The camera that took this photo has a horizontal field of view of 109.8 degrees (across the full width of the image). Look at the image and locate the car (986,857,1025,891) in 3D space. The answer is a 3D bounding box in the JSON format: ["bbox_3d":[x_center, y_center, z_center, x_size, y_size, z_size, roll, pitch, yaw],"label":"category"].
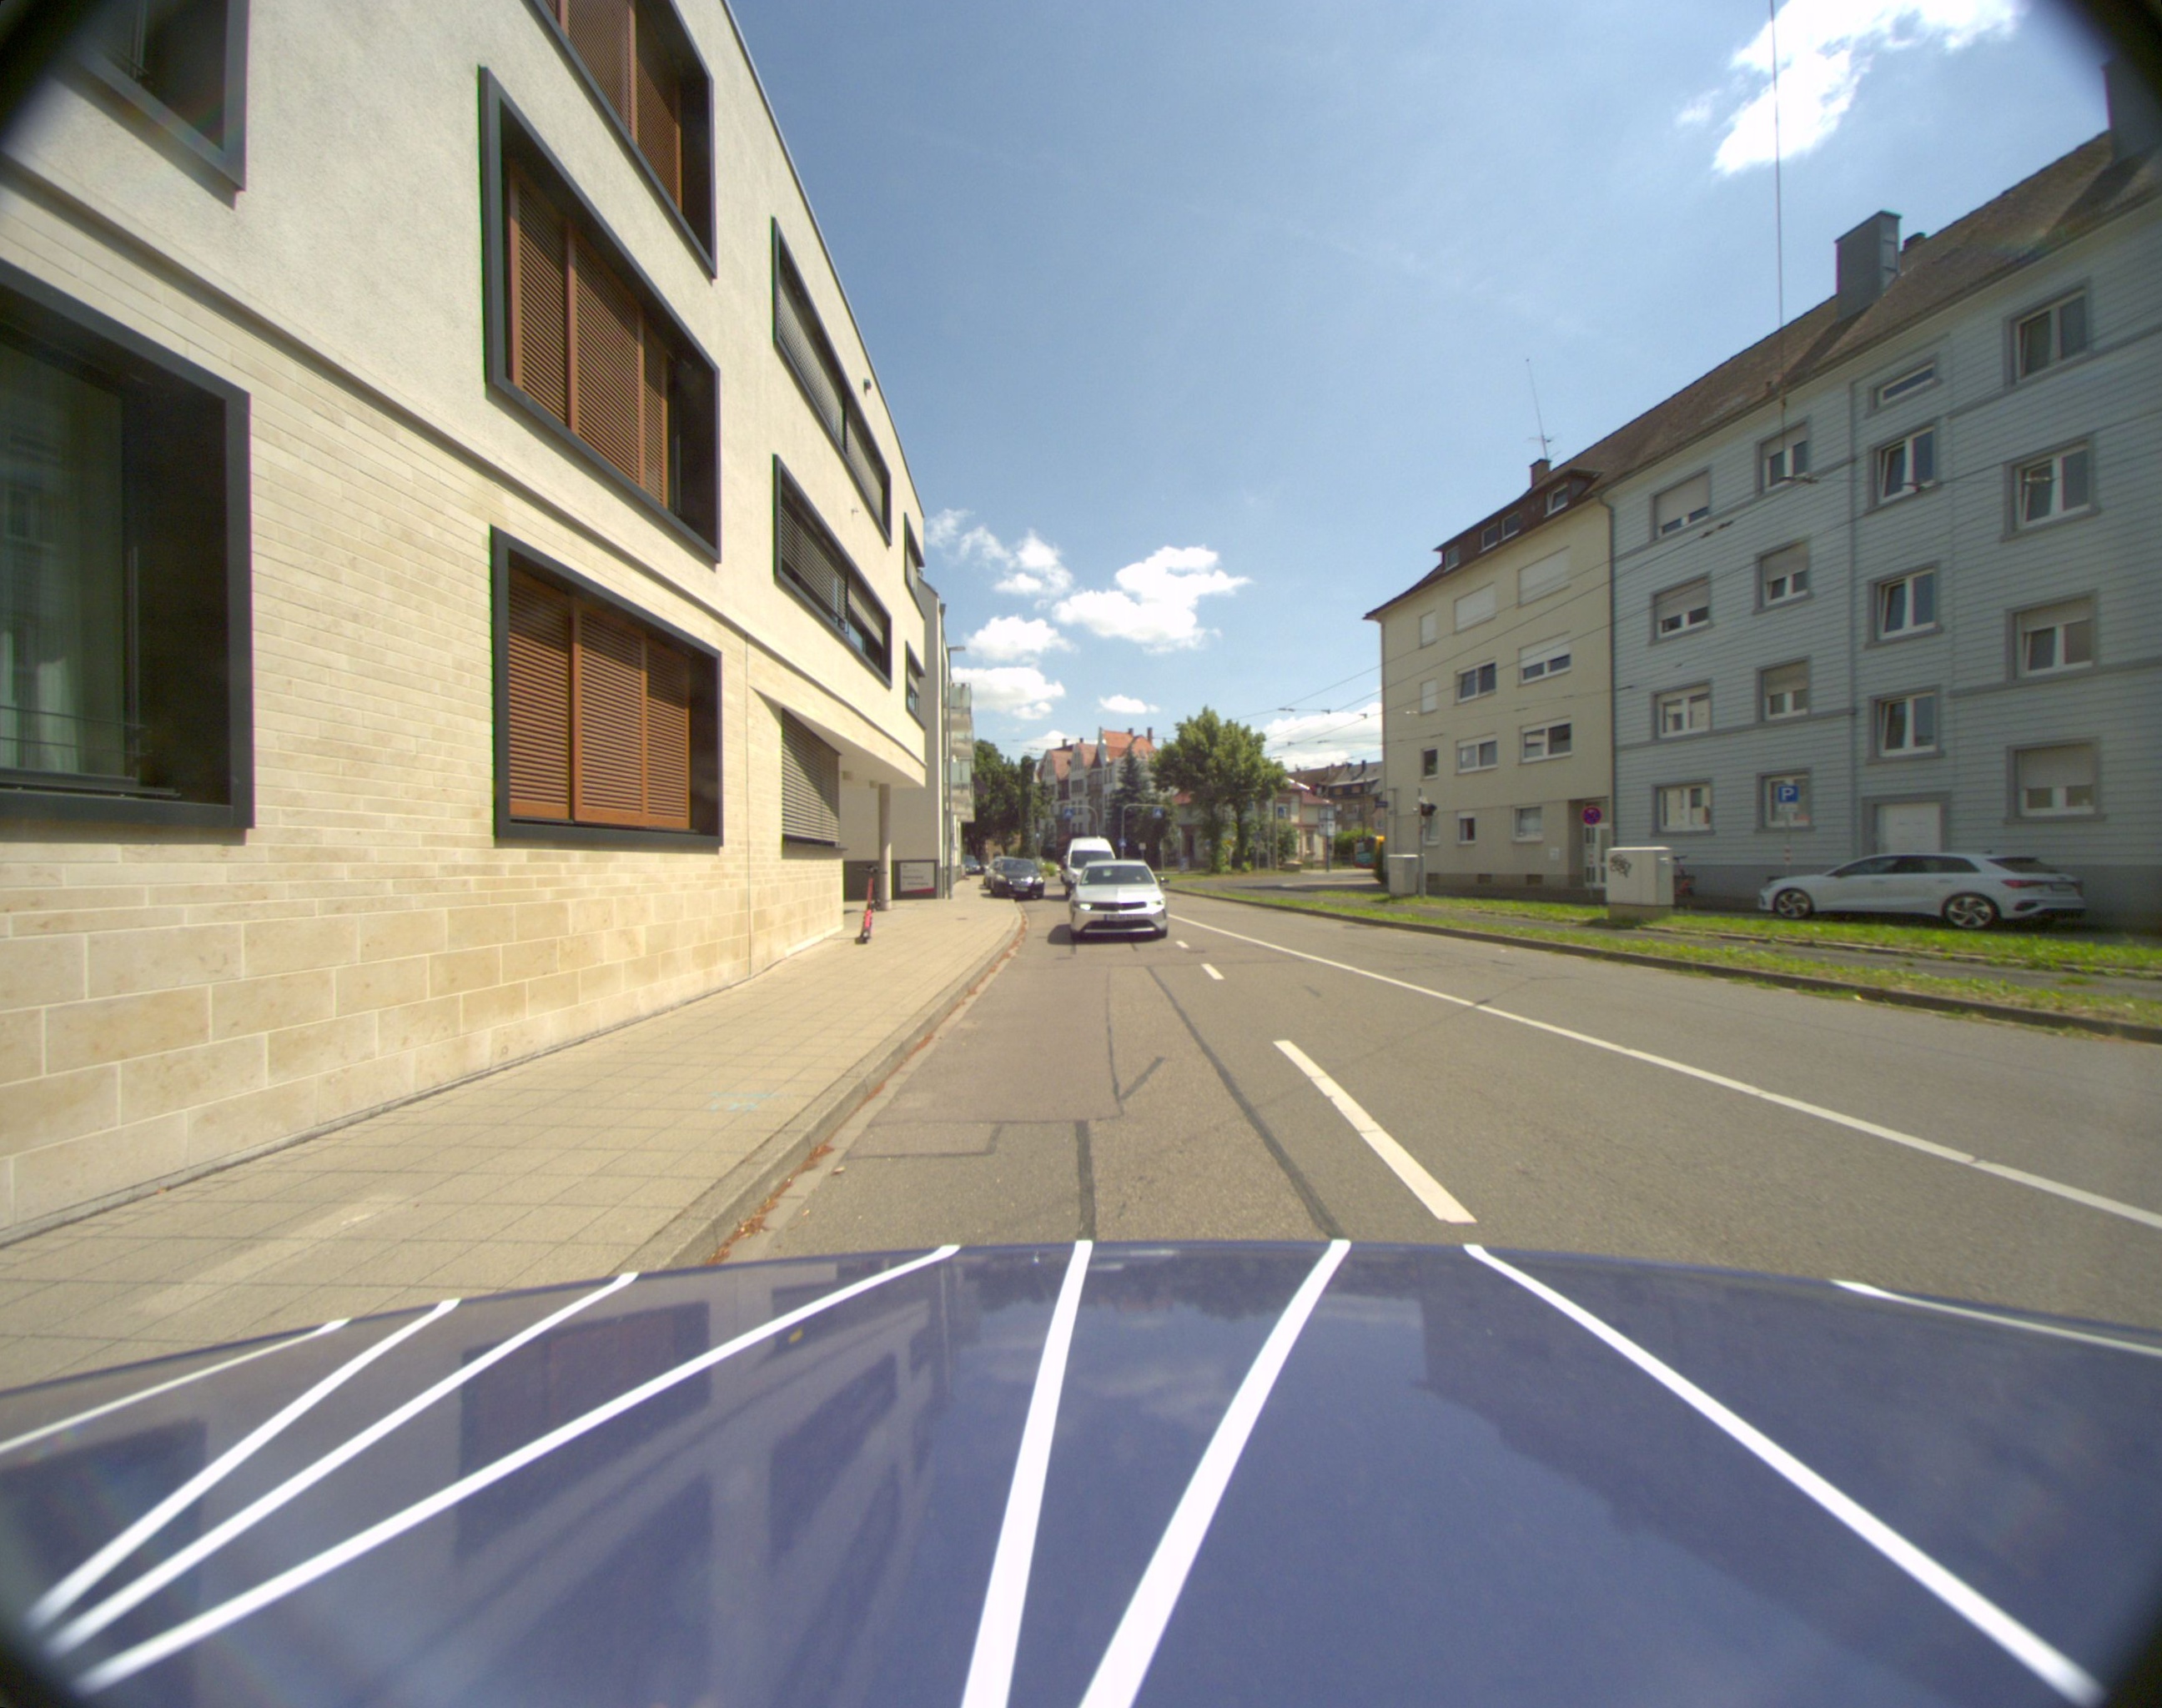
[{"bbox_3d":[-3.604,0.914,35.849,1.598,1.424,3.704,3,0,-8],"label":"car"}]

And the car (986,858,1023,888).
[{"bbox_3d":[-4.063,1.000,40.838,1.732,1.424,4.041,3,0,-4],"label":"car"}]

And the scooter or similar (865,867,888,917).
[{"bbox_3d":[-5.213,0.949,19.434,0.423,1.204,1.314,0,0,-9],"label":"scooter or similar"}]

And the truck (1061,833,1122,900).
[{"bbox_3d":[0.353,0.397,28.601,2.020,2.236,5.407,-2,1,0],"label":"truck"}]

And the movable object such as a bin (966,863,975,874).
[{"bbox_3d":[-9.435,1.264,65.027,0.616,0.955,0.635,-1,0,9],"label":"movable object such as a bin"}]

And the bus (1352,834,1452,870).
[{"bbox_3d":[30.401,-0.126,71.799,10.877,3.277,2.702,0,-1,-30],"label":"bus"}]

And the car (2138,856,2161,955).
[{"bbox_3d":[17.797,0.773,9.888,1.935,1.496,4.320,1,-1,-15],"label":"car"}]

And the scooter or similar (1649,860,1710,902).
[{"bbox_3d":[17.877,0.784,22.721,0.640,1.216,1.319,-2,0,-13],"label":"scooter or similar"}]

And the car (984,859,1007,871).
[{"bbox_3d":[-12.797,1.620,113.776,1.779,1.604,3.865,6,-3,-35],"label":"car"}]

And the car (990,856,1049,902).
[{"bbox_3d":[-2.426,0.879,29.071,1.806,1.500,4.543,3,0,-9],"label":"car"}]

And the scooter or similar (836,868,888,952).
[{"bbox_3d":[-3.558,0.883,12.428,0.583,1.253,1.366,2,0,-7],"label":"scooter or similar"}]

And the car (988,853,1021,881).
[{"bbox_3d":[-4.821,0.806,48.511,1.731,1.601,3.799,2,1,-1],"label":"car"}]

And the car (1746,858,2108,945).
[{"bbox_3d":[16.285,0.839,15.019,1.935,1.442,4.371,2,-1,-15],"label":"car"}]

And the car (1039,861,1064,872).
[{"bbox_3d":[-3.667,1.497,94.412,1.821,1.318,3.992,0,-1,-23],"label":"car"}]

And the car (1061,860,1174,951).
[{"bbox_3d":[0.869,0.912,15.155,1.800,1.458,4.173,-2,0,8],"label":"car"}]
